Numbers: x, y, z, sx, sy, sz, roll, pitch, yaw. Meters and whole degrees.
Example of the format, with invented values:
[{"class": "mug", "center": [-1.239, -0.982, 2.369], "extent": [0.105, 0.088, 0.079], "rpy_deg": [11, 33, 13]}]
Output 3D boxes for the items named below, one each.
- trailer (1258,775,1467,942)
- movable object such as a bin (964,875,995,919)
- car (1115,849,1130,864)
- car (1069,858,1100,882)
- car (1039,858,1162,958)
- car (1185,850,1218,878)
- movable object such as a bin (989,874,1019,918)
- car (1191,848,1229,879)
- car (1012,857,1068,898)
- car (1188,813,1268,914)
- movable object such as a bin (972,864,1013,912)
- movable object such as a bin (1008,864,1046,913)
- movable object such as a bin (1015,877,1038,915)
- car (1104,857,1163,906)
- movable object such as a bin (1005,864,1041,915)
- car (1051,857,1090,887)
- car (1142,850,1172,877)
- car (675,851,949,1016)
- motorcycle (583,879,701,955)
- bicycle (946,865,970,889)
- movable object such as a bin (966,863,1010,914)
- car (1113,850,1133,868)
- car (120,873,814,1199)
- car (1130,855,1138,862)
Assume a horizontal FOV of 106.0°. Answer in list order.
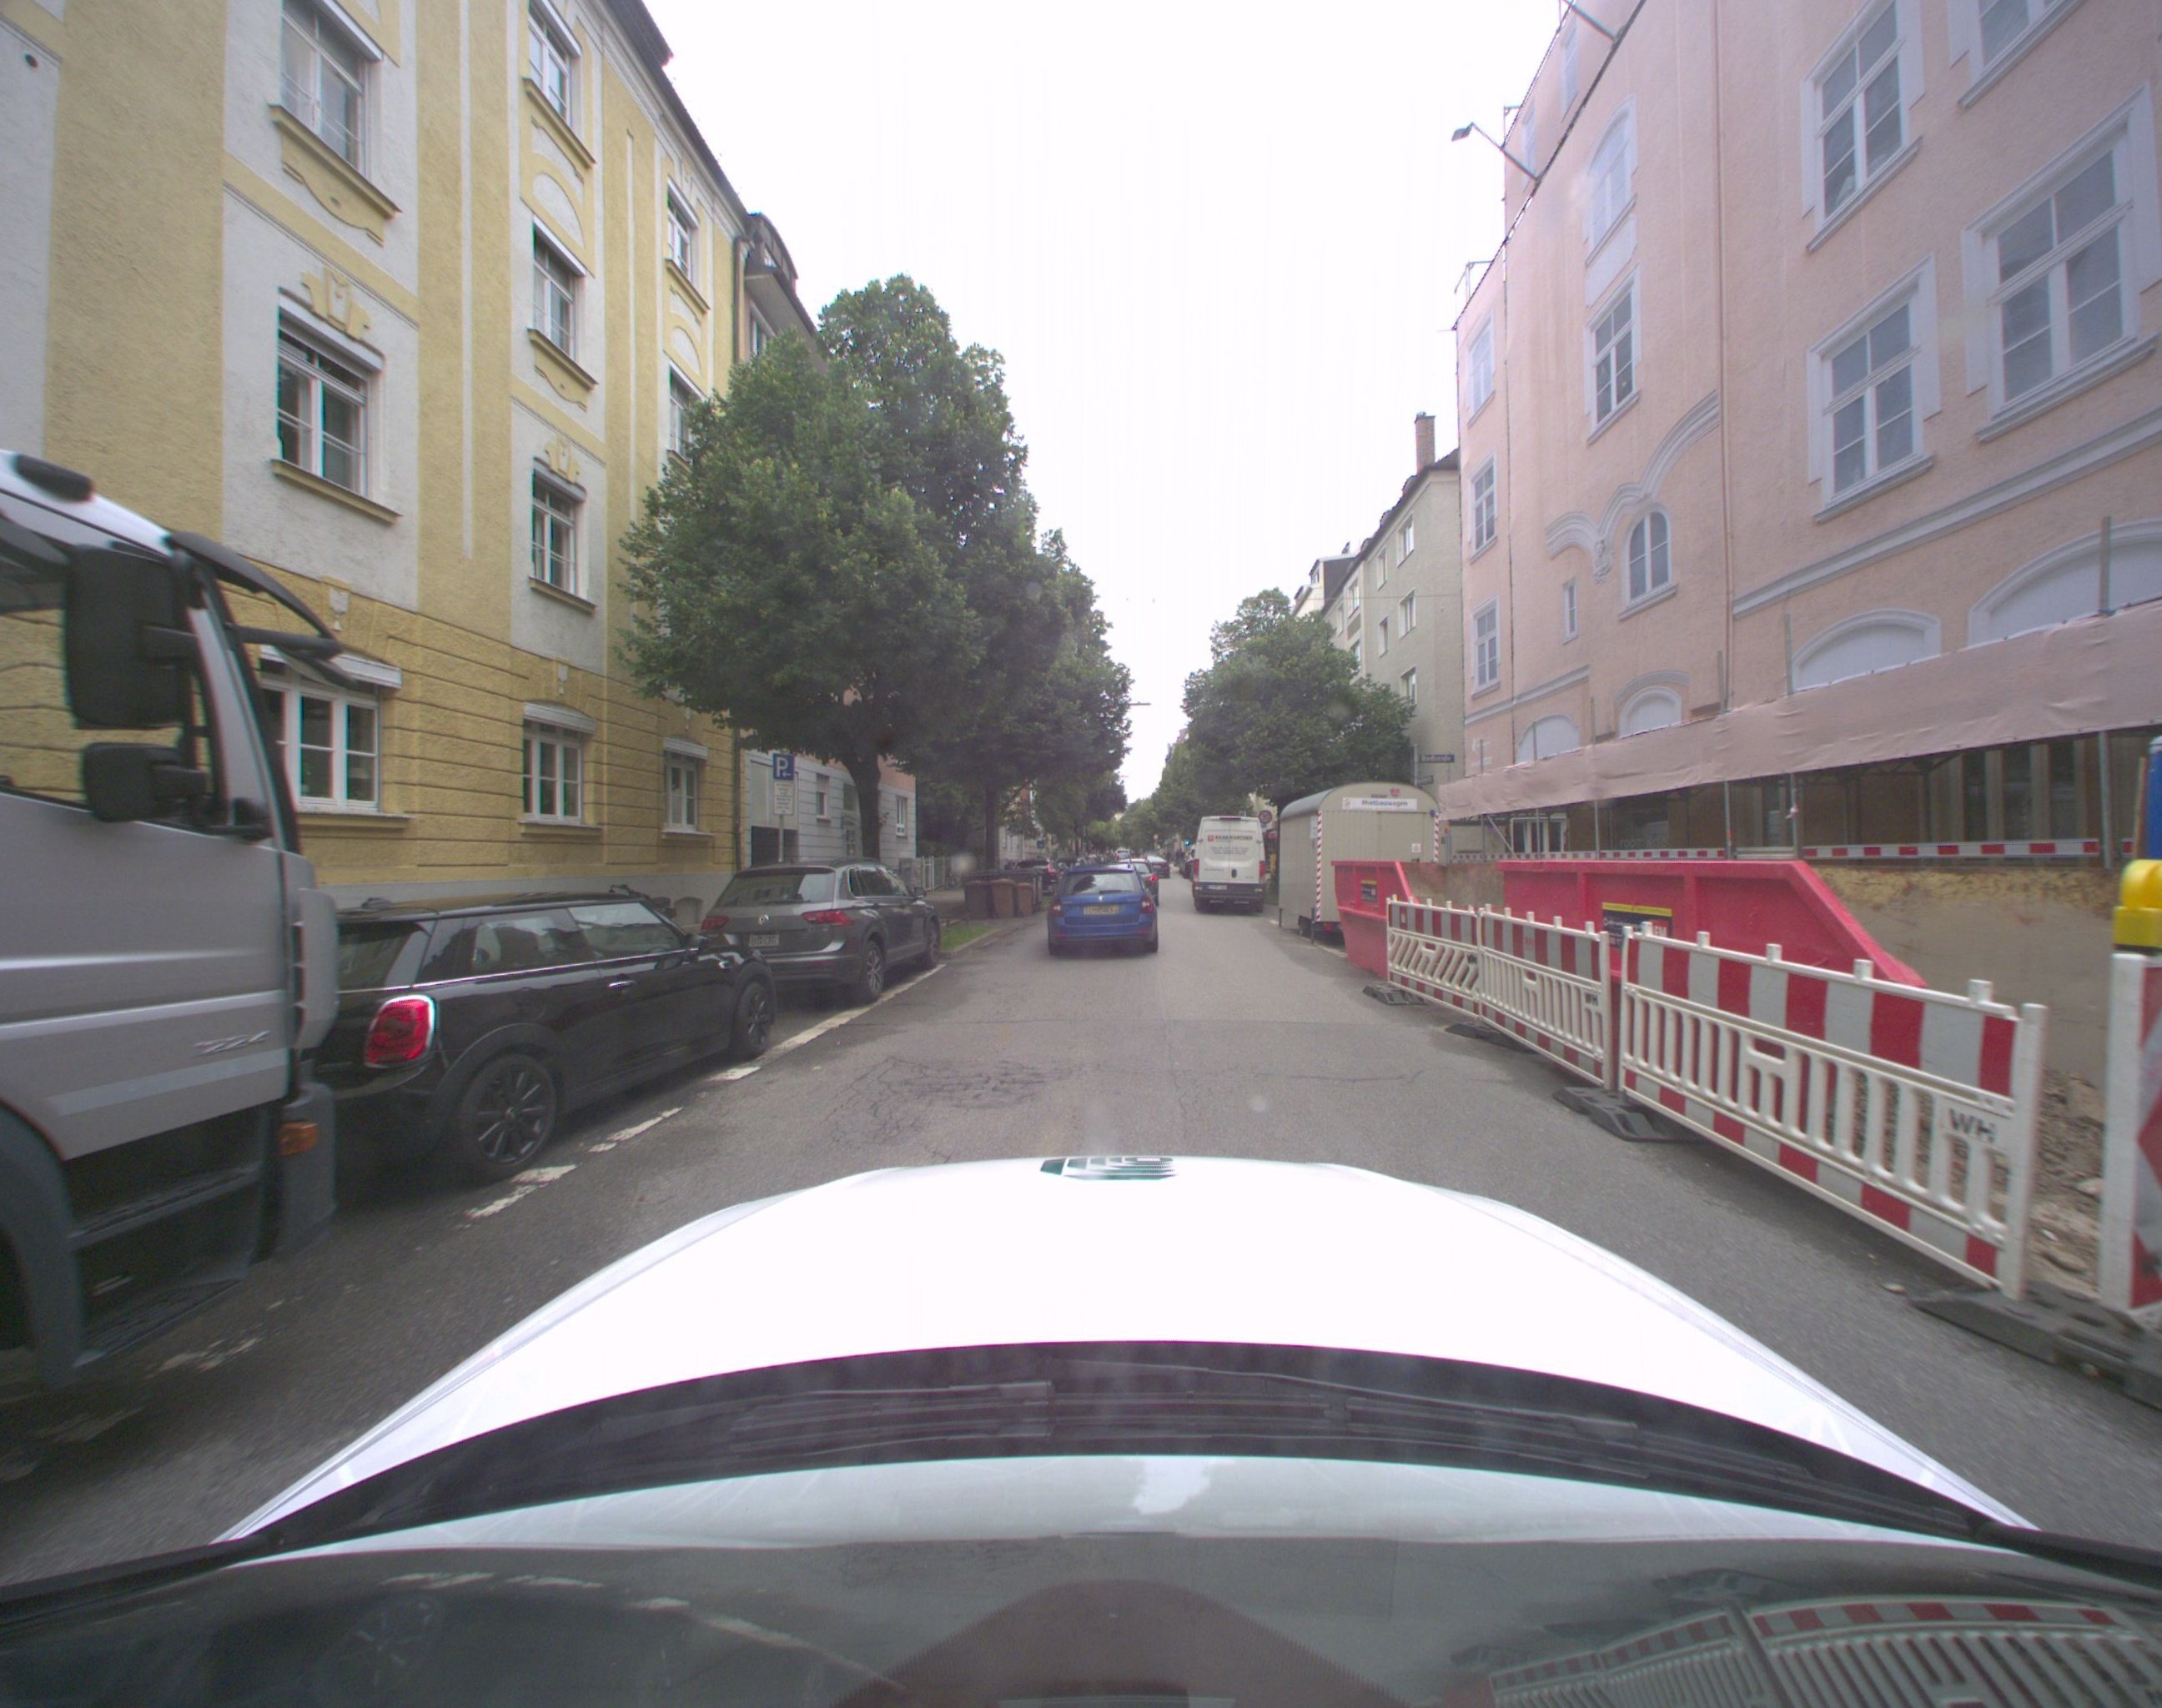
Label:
[{"class": "trailer", "center": [5.562, 0.110, 17.370], "extent": [2.491, 2.840, 6.907], "rpy_deg": [0, -1, 4]}, {"class": "movable object such as a bin", "center": [-2.813, 1.192, 22.717], "extent": [0.718, 1.138, 0.658], "rpy_deg": [-3, 0, 0]}, {"class": "car", "center": [5.259, 0.251, 103.498], "extent": [1.860, 1.870, 4.350], "rpy_deg": [0, 0, 3]}, {"class": "car", "center": [0.251, 1.043, 54.197], "extent": [1.804, 1.478, 4.004], "rpy_deg": [0, 0, 4]}, {"class": "car", "center": [0.418, 0.822, 14.225], "extent": [1.781, 1.460, 4.318], "rpy_deg": [-1, -1, 3]}, {"class": "car", "center": [8.017, 0.645, 54.447], "extent": [1.817, 1.727, 4.004], "rpy_deg": [-2, 0, 3]}, {"class": "movable object such as a bin", "center": [-2.146, 1.160, 22.739], "extent": [0.709, 1.148, 0.636], "rpy_deg": [-3, 0, 0]}, {"class": "car", "center": [7.576, 0.562, 48.238], "extent": [1.817, 1.727, 4.004], "rpy_deg": [-2, 0, 3]}, {"class": "car", "center": [-1.512, 0.857, 31.464], "extent": [1.805, 1.478, 4.002], "rpy_deg": [0, 0, 2]}, {"class": "car", "center": [4.394, 0.283, 24.537], "extent": [2.100, 2.664, 5.514], "rpy_deg": [0, -1, 10]}, {"class": "movable object such as a bin", "center": [-2.676, 1.021, 24.703], "extent": [1.054, 1.376, 1.095], "rpy_deg": [-3, 0, -1]}, {"class": "movable object such as a bin", "center": [-1.620, 1.029, 24.732], "extent": [1.017, 1.376, 1.103], "rpy_deg": [-3, 0, -1]}, {"class": "movable object such as a bin", "center": [-1.527, 1.172, 22.770], "extent": [0.545, 1.020, 0.636], "rpy_deg": [-3, 0, 0]}, {"class": "car", "center": [1.737, 0.830, 25.871], "extent": [1.732, 1.422, 3.669], "rpy_deg": [0, -1, 6]}, {"class": "movable object such as a bin", "center": [-1.680, 1.009, 23.635], "extent": [0.915, 1.376, 1.079], "rpy_deg": [-3, 0, -1]}, {"class": "car", "center": [-0.500, 0.880, 42.169], "extent": [1.805, 1.478, 4.002], "rpy_deg": [0, 0, 2]}, {"class": "car", "center": [5.105, 0.620, 55.009], "extent": [1.859, 1.696, 4.351], "rpy_deg": [0, 0, 3]}, {"class": "car", "center": [-3.082, 0.817, 10.366], "extent": [1.777, 1.628, 4.190], "rpy_deg": [-2, 0, 4]}, {"class": "motorcycle", "center": [-7.517, 1.032, 14.114], "extent": [0.636, 1.127, 2.430], "rpy_deg": [-1, 0, 2]}, {"class": "bicycle", "center": [-6.040, 1.108, 40.068], "extent": [0.632, 1.067, 2.390], "rpy_deg": [-2, 0, 5]}, {"class": "movable object such as a bin", "center": [-2.677, 0.991, 23.601], "extent": [1.078, 1.376, 1.083], "rpy_deg": [-3, 0, -1]}, {"class": "car", "center": [4.150, 0.459, 79.938], "extent": [1.859, 1.696, 4.351], "rpy_deg": [0, 0, 3]}, {"class": "car", "center": [-3.443, 0.874, 5.565], "extent": [1.691, 1.409, 3.714], "rpy_deg": [-1, -1, 5]}, {"class": "car", "center": [13.965, 1.080, 214.698], "extent": [1.859, 1.739, 4.352], "rpy_deg": [-1, 0, 4]}]
